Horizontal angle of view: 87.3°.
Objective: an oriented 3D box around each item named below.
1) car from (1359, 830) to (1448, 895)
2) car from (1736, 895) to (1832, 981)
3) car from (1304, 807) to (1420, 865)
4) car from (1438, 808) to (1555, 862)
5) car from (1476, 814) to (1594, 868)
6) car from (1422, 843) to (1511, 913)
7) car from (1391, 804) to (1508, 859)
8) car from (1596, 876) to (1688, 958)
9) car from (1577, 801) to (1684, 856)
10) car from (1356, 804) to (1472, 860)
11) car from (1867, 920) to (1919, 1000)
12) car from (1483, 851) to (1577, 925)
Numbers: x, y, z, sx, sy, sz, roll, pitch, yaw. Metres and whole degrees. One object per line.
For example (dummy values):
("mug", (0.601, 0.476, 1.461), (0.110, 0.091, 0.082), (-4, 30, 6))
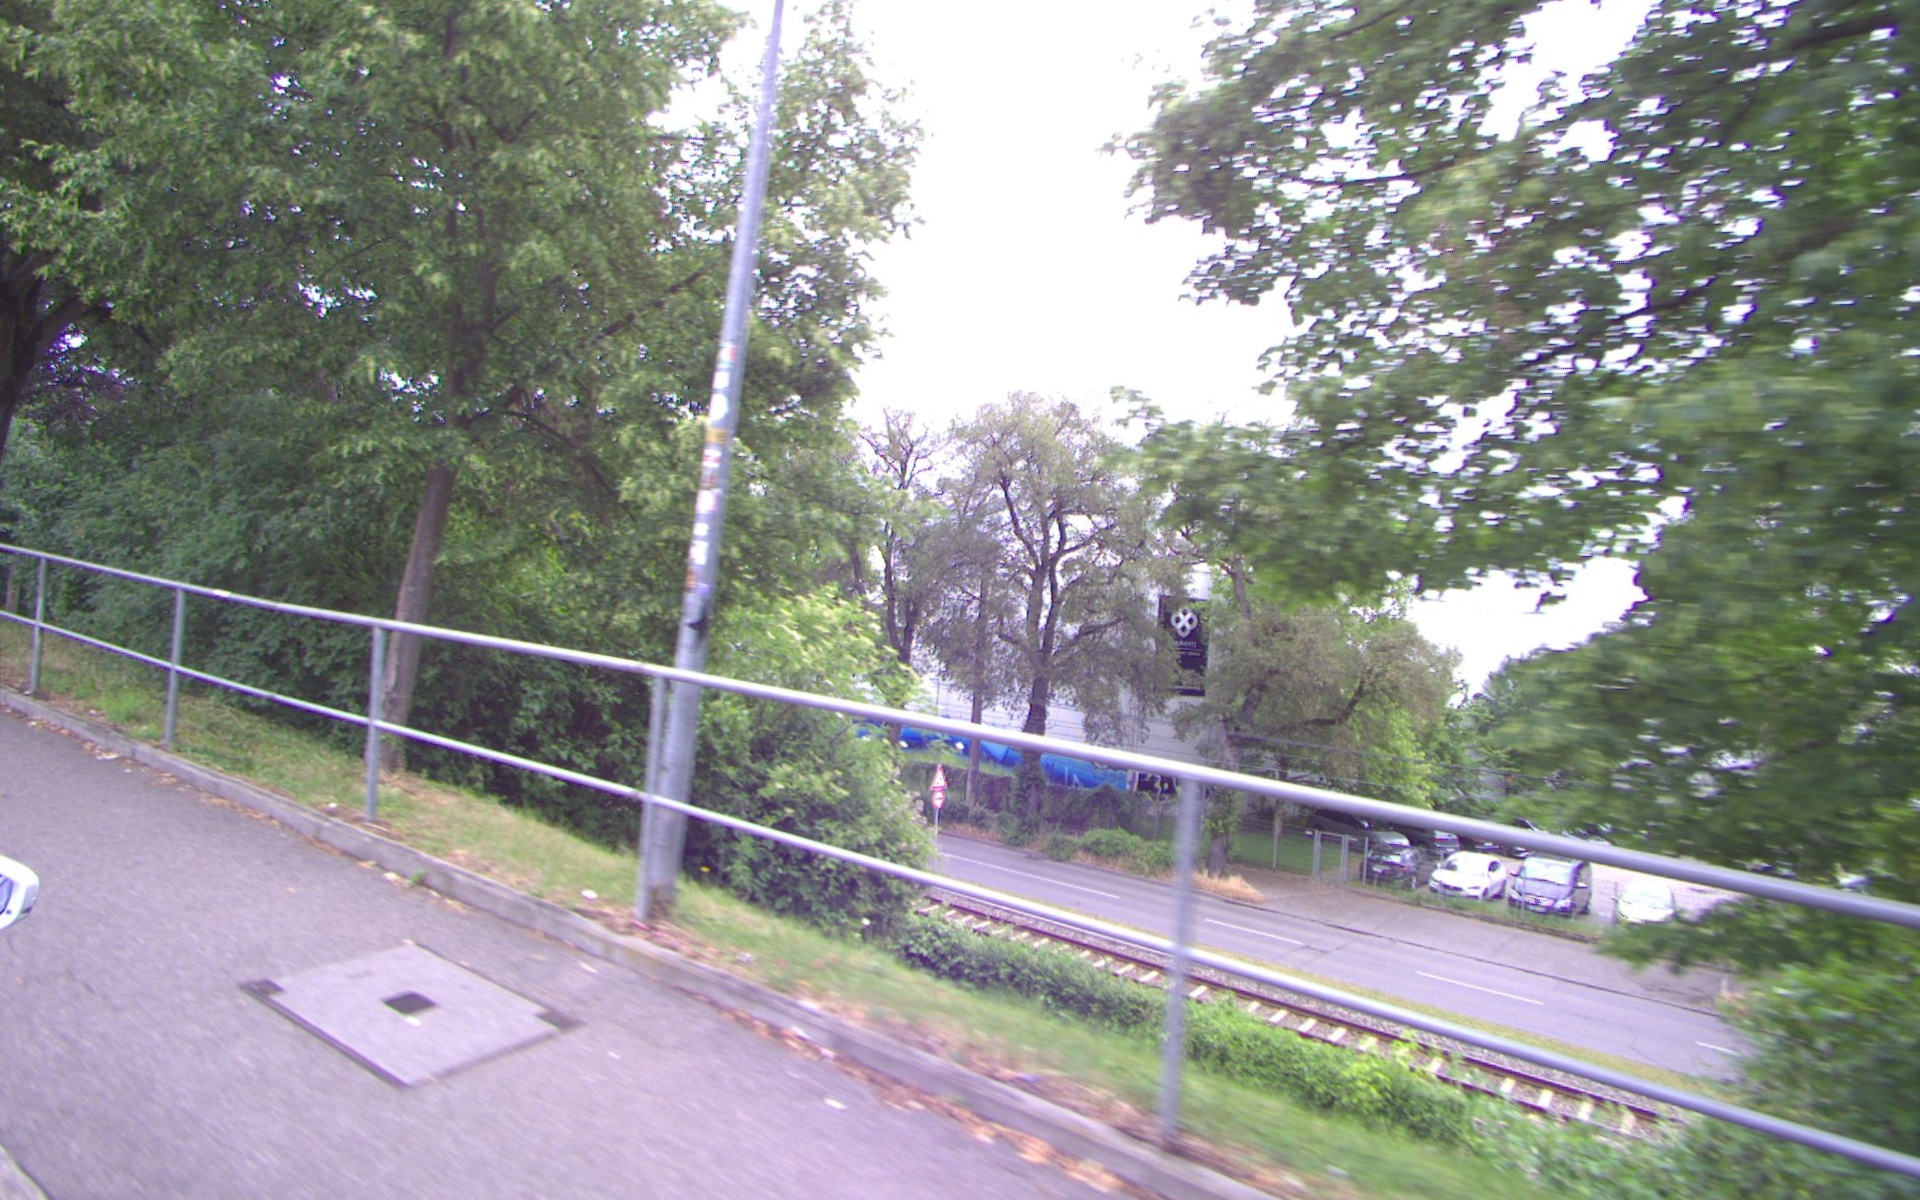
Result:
("car", (16.404, 9.616, 37.073), (1.800, 1.523, 4.327), (6, -2, 40))
("car", (24.572, 10.014, 30.074), (1.971, 1.484, 4.332), (6, -4, 40))
("car", (17.538, 10.296, 44.160), (1.975, 1.418, 4.525), (8, -1, -24))
("car", (24.938, 10.908, 46.915), (1.979, 1.486, 4.311), (8, -1, -30))
("car", (27.029, 11.320, 47.442), (1.979, 1.486, 4.311), (8, -1, -30))
("car", (17.992, 9.781, 35.649), (1.800, 1.523, 4.327), (6, -2, 40))
("car", (22.303, 10.545, 45.991), (1.979, 1.486, 4.311), (8, -1, -30))
("car", (22.082, 10.159, 32.493), (1.971, 1.485, 4.327), (6, -2, 40))
("car", (34.091, 11.597, 51.269), (1.974, 1.832, 3.979), (7, -1, -23))
("car", (20.215, 10.321, 44.957), (1.979, 1.486, 4.311), (8, -1, -30))
("car", (27.160, 10.263, 28.393), (1.971, 1.484, 4.332), (6, -4, 40))
("car", (19.463, 9.738, 34.256), (1.971, 1.485, 4.327), (6, -2, 40))
